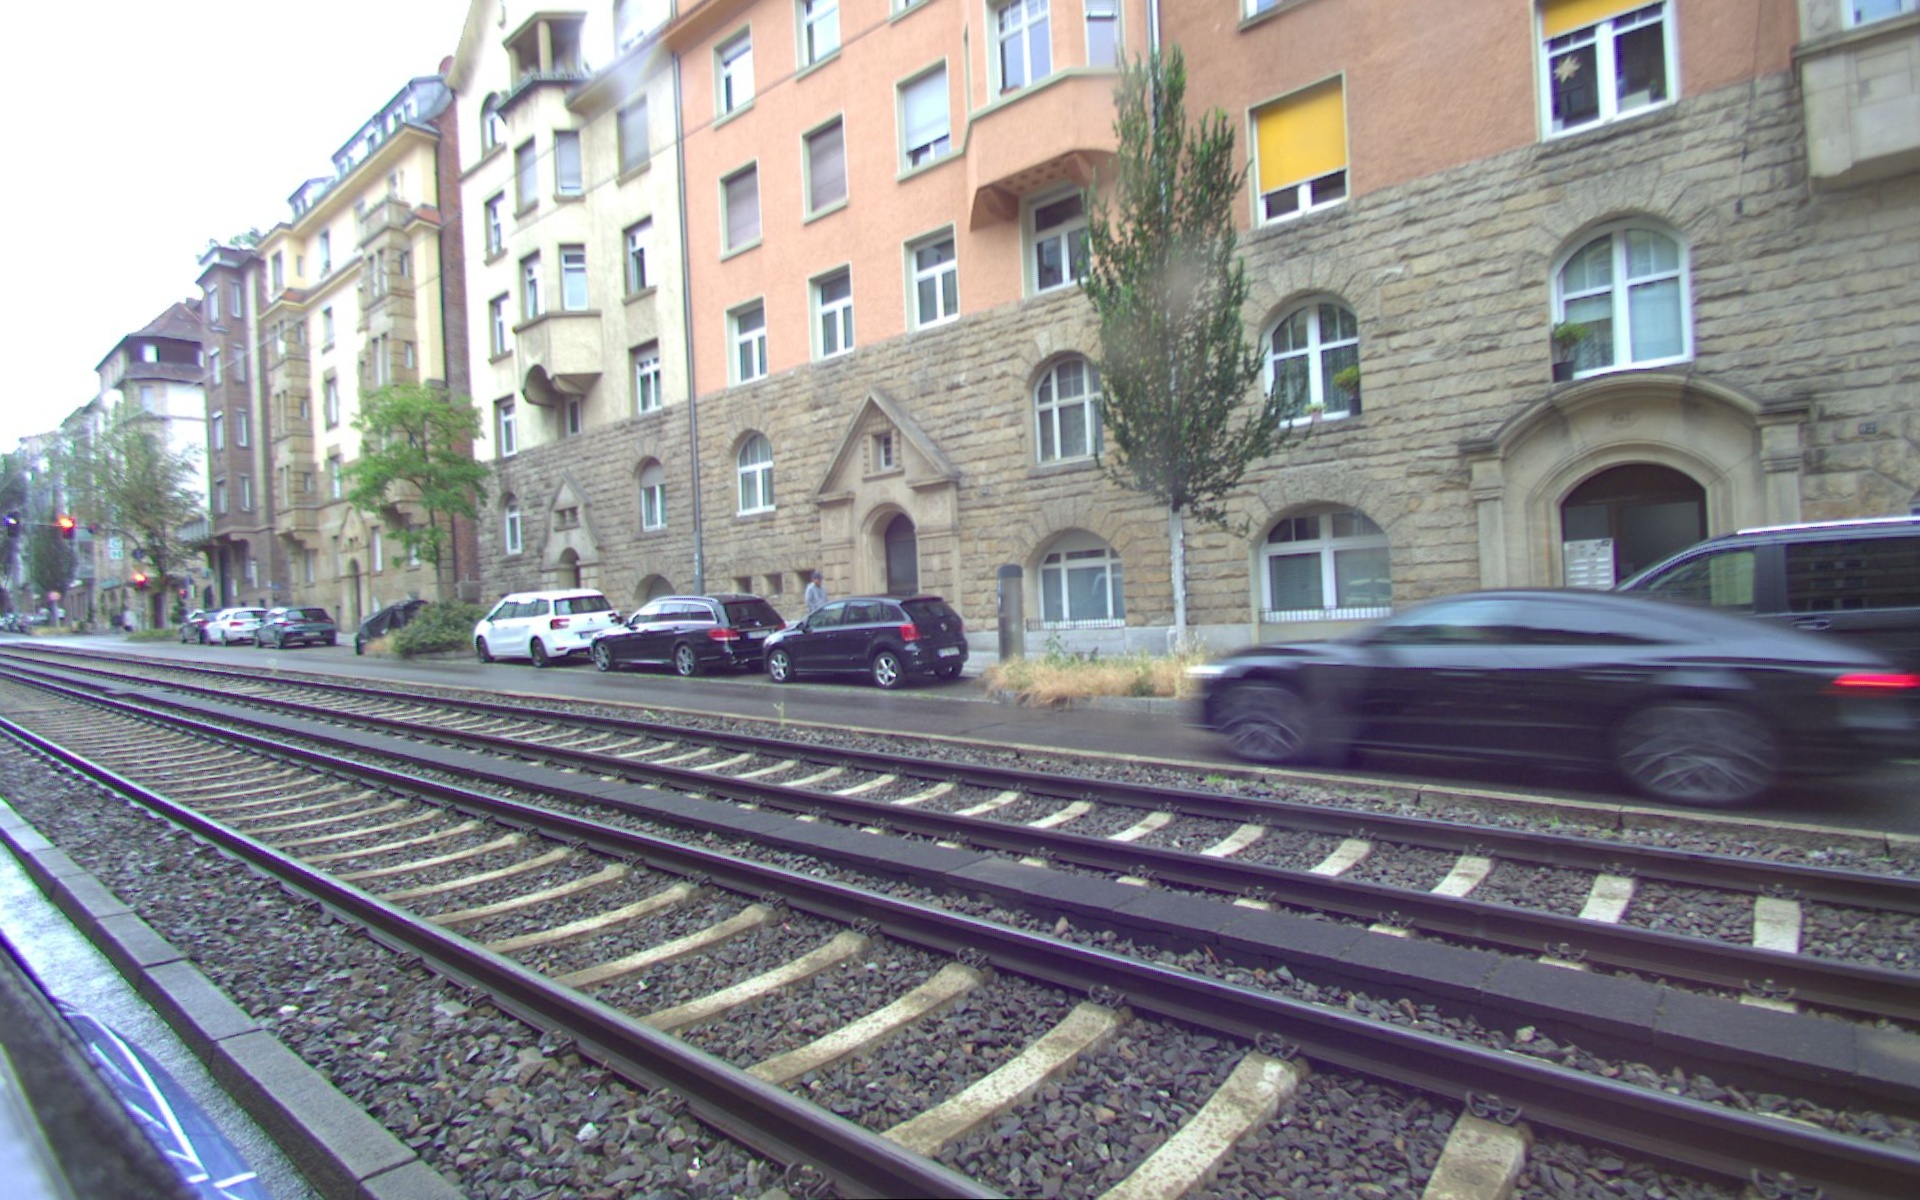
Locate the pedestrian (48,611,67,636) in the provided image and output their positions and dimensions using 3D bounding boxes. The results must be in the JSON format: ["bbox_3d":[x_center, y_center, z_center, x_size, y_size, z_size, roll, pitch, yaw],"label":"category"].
[{"bbox_3d":[-75.258,1.965,84.405,1.163,1.972,1.042,-1,0,43],"label":"pedestrian"}]

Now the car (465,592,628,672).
[{"bbox_3d":[-9.678,0.705,23.566,4.144,1.668,1.843,-1,0,41],"label":"car"}]

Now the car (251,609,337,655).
[{"bbox_3d":[-23.615,1.105,35.816,3.845,1.452,1.656,-1,1,43],"label":"car"}]

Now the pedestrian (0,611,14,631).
[{"bbox_3d":[-96.172,2.143,101.829,1.379,1.972,1.362,-1,0,43],"label":"pedestrian"}]

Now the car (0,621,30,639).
[{"bbox_3d":[-74.218,2.316,79.299,3.843,1.321,1.563,-1,0,41],"label":"car"}]

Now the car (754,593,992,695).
[{"bbox_3d":[-1.489,0.667,16.871,3.638,1.508,1.912,-1,0,38],"label":"car"}]

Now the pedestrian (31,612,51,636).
[{"bbox_3d":[-75.933,1.970,83.603,1.163,1.972,1.042,-1,0,43],"label":"pedestrian"}]

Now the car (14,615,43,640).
[{"bbox_3d":[-68.970,2.025,74.933,1.561,1.691,3.794,-2,2,-43],"label":"car"}]

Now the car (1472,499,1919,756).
[{"bbox_3d":[7.412,0.209,8.936,4.823,1.956,1.973,-1,0,41],"label":"car"}]

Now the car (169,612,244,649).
[{"bbox_3d":[-32.075,1.280,43.042,3.843,1.452,1.748,-1,0,41],"label":"car"}]

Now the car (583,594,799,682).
[{"bbox_3d":[-5.371,0.698,19.893,4.599,1.506,1.824,-1,0,41],"label":"car"}]

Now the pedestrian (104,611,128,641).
[{"bbox_3d":[-56.278,1.732,67.483,1.163,1.972,1.042,-1,0,43],"label":"pedestrian"}]

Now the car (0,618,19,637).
[{"bbox_3d":[-80.845,2.327,85.373,3.843,1.527,1.748,-1,0,41],"label":"car"}]

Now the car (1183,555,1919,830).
[{"bbox_3d":[4.363,0.540,7.640,4.960,1.535,1.785,-1,0,40],"label":"car"}]

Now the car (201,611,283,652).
[{"bbox_3d":[-28.216,1.223,39.719,4.030,1.452,1.748,-1,1,42],"label":"car"}]

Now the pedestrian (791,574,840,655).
[{"bbox_3d":[-3.063,0.301,21.413,0.765,1.654,0.692,-1,0,41],"label":"pedestrian"}]
